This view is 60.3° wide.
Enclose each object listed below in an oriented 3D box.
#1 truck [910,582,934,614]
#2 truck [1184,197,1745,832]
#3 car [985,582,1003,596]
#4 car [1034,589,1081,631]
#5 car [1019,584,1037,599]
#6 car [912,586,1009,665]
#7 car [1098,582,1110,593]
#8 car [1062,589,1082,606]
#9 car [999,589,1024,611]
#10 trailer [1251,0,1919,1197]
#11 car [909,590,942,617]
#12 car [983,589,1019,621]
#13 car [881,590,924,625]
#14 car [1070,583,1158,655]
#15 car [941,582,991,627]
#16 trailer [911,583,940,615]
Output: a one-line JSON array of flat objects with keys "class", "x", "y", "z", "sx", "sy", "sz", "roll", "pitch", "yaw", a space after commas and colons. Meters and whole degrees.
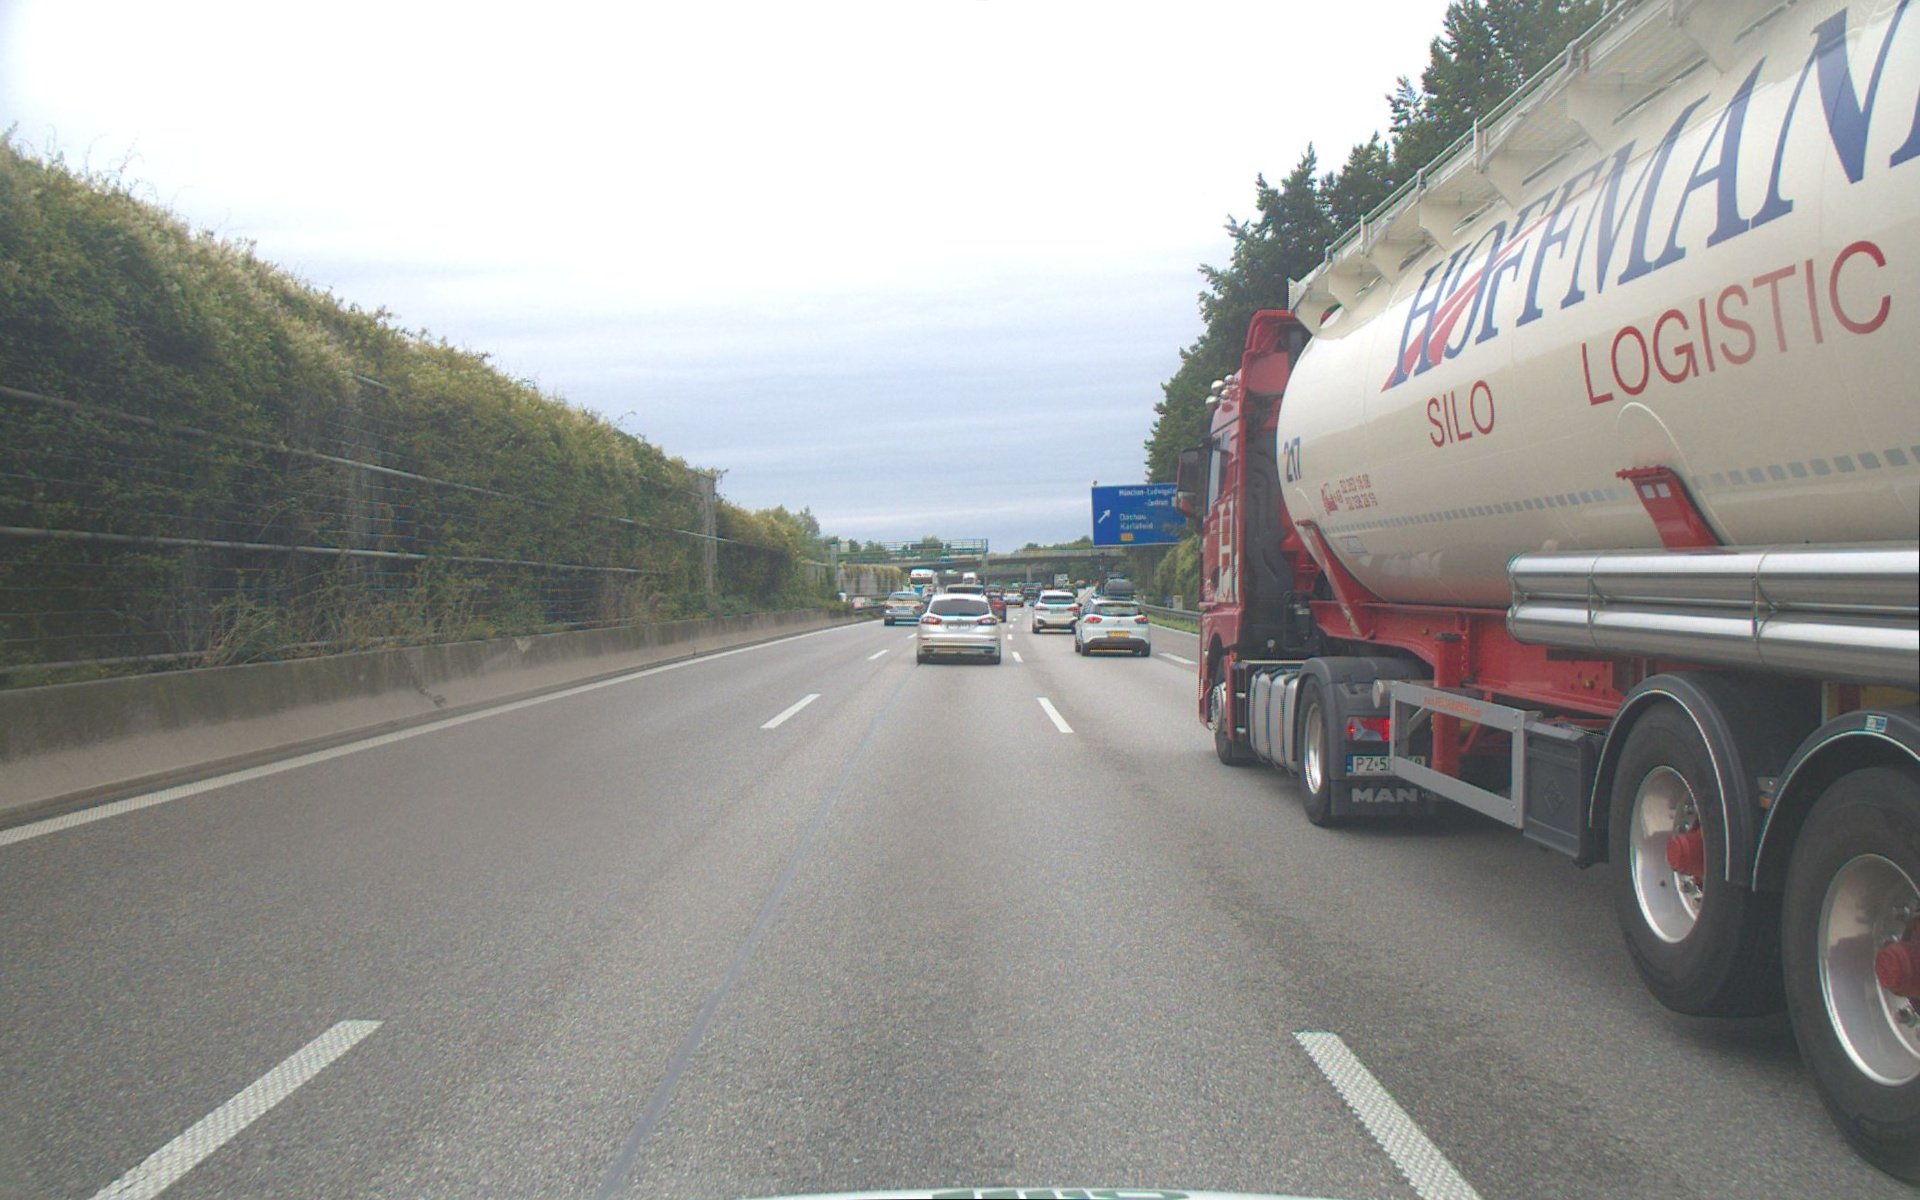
[{"class": "truck", "x": -5.231, "y": -0.296, "z": 226.746, "sx": 2.612, "sy": 4.200, "sz": 5.920, "roll": 0, "pitch": 0, "yaw": 5}, {"class": "truck", "x": 3.614, "y": -0.543, "z": 13.660, "sx": 2.640, "sy": 3.981, "sz": 6.556, "roll": 0, "pitch": 0, "yaw": 0}, {"class": "car", "x": 3.649, "y": -1.170, "z": 175.222, "sx": 1.653, "sy": 1.447, "sz": 3.874, "roll": 0, "pitch": 0, "yaw": 5}, {"class": "car", "x": 3.640, "y": 0.387, "z": 62.431, "sx": 1.654, "sy": 1.533, "sz": 3.872, "roll": 0, "pitch": 0, "yaw": 1}, {"class": "car", "x": 7.277, "y": -0.918, "z": 176.455, "sx": 1.654, "sy": 1.566, "sz": 3.870, "roll": 0, "pitch": 0, "yaw": -1}, {"class": "car", "x": -0.061, "y": 0.527, "z": 36.592, "sx": 1.854, "sy": 1.530, "sz": 5.027, "roll": 3, "pitch": 0, "yaw": -3}, {"class": "car", "x": 19.414, "y": -1.640, "z": 223.133, "sx": 1.653, "sy": 1.447, "sz": 3.874, "roll": 0, "pitch": 0, "yaw": 5}, {"class": "car", "x": 10.404, "y": -0.204, "z": 153.683, "sx": 1.653, "sy": 1.566, "sz": 3.874, "roll": 0, "pitch": 0, "yaw": 7}, {"class": "car", "x": 4.416, "y": 0.029, "z": 141.452, "sx": 1.752, "sy": 1.811, "sz": 3.874, "roll": -1, "pitch": 0, "yaw": 7}, {"class": "trailer", "x": 3.698, "y": -0.521, "z": 6.572, "sx": 2.614, "sy": 4.007, "sz": 13.128, "roll": 0, "pitch": 1, "yaw": -1}, {"class": "car", "x": -2.005, "y": 0.221, "z": 96.812, "sx": 1.684, "sy": 1.538, "sz": 5.031, "roll": 0, "pitch": 0, "yaw": 2}, {"class": "car", "x": 2.110, "y": 0.241, "z": 84.176, "sx": 1.653, "sy": 1.533, "sz": 3.873, "roll": 1, "pitch": 0, "yaw": 3}, {"class": "car", "x": -2.561, "y": 0.361, "z": 74.229, "sx": 1.684, "sy": 1.495, "sz": 5.030, "roll": 0, "pitch": -1, "yaw": 1}, {"class": "car", "x": 3.843, "y": 0.456, "z": 41.994, "sx": 1.779, "sy": 1.654, "sz": 5.030, "roll": 2, "pitch": 0, "yaw": 1}, {"class": "car", "x": 0.200, "y": 0.144, "z": 62.972, "sx": 1.655, "sy": 1.532, "sz": 3.870, "roll": 4, "pitch": 1, "yaw": -2}, {"class": "trailer", "x": -4.750, "y": -0.180, "z": 230.830, "sx": 2.612, "sy": 4.200, "sz": 13.139, "roll": 0, "pitch": 0, "yaw": 5}]
